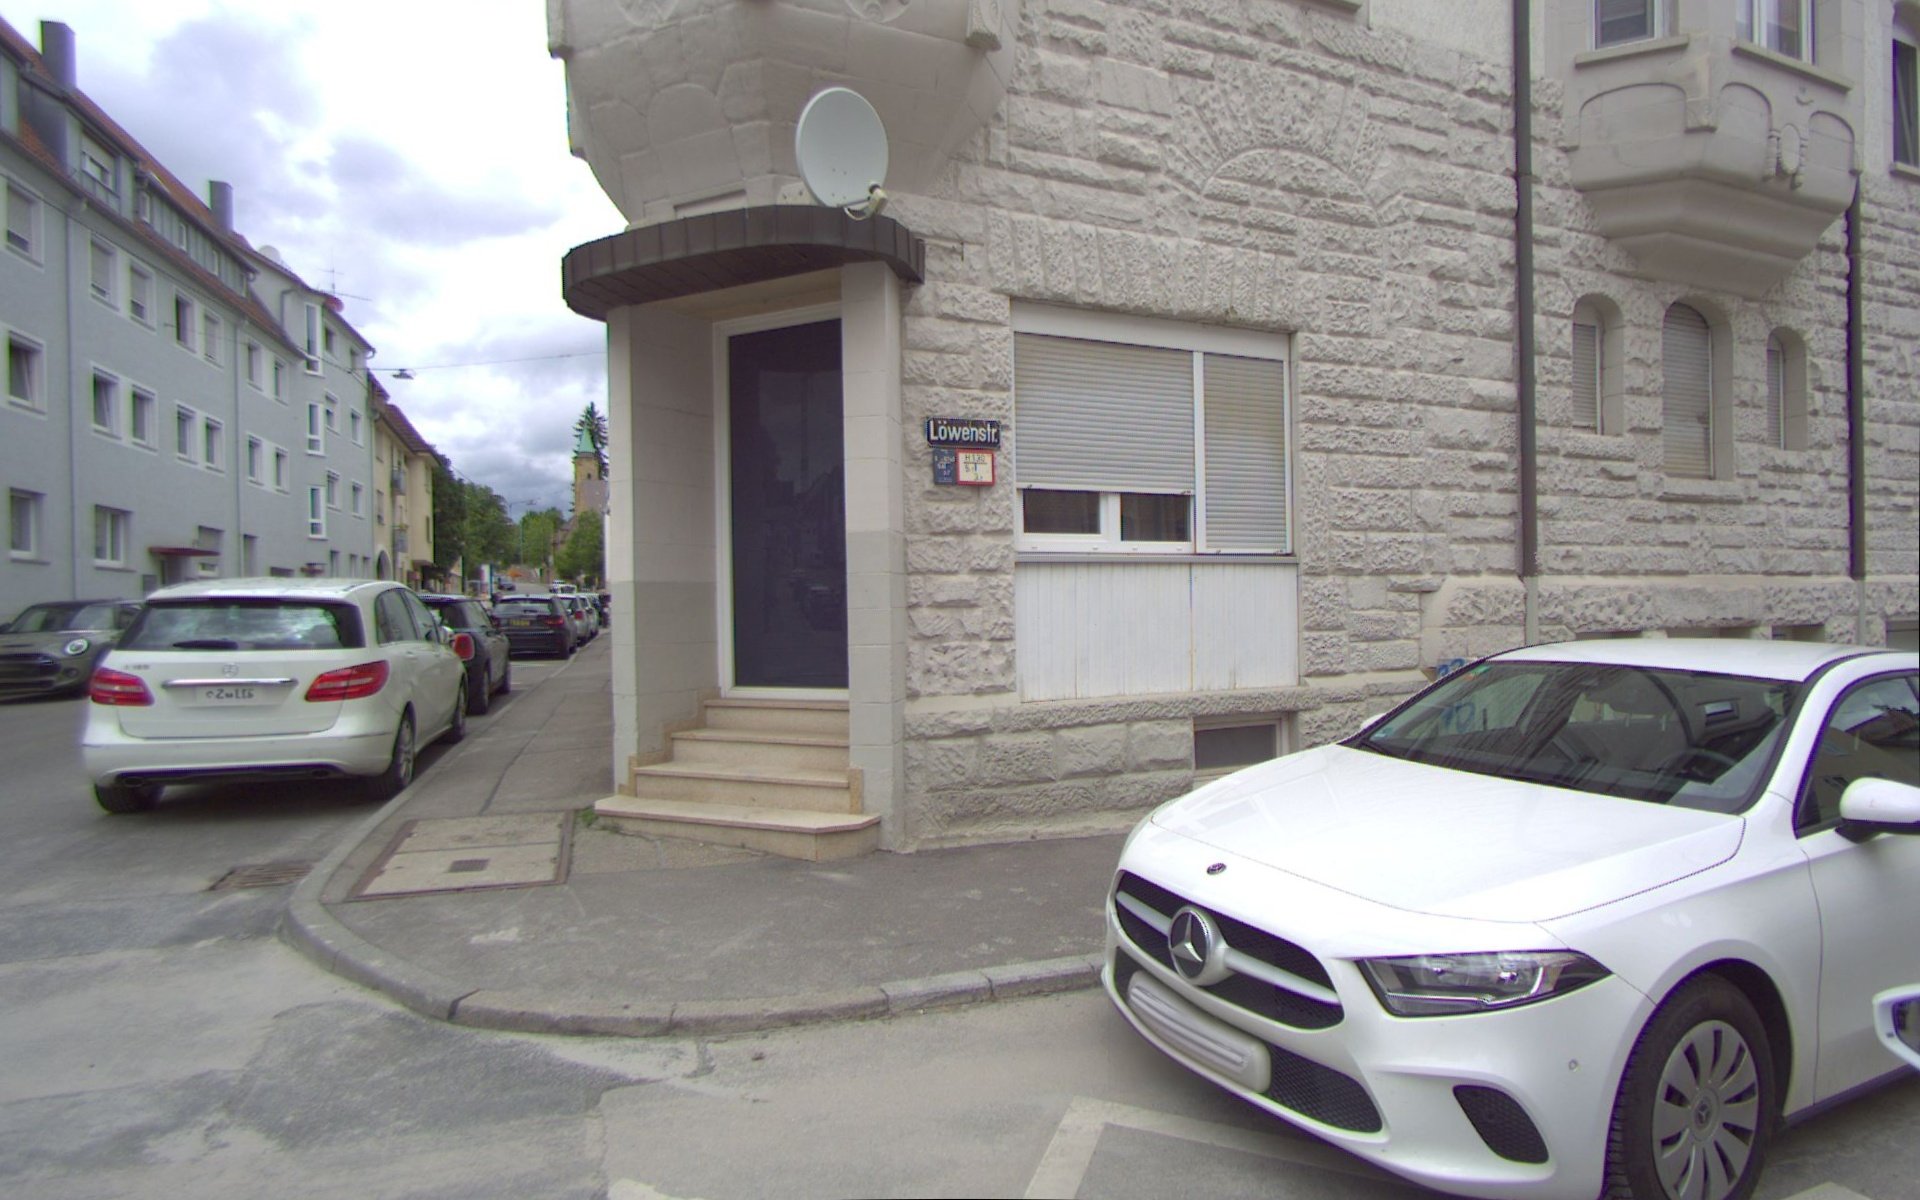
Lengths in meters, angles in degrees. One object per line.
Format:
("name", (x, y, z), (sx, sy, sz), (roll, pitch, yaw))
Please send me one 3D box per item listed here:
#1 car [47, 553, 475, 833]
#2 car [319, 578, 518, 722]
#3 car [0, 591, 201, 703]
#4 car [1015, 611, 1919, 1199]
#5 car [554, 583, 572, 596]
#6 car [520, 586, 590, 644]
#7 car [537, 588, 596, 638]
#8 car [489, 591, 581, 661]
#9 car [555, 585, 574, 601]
("car", (-5.106, 0.534, 8.014), (1.798, 1.621, 4.009), (0, 0, -20))
("car", (-6.790, 0.528, 12.996), (1.648, 1.553, 4.009), (1, 0, -20))
("car", (-13.463, 0.635, 15.450), (1.709, 1.509, 3.703), (-1, 1, -19))
("car", (2.438, 0.801, 3.574), (4.183, 1.433, 1.694), (2, -1, -25))
("car", (-53.424, -1.425, 135.176), (2.159, 1.716, 3.603), (0, 1, -25))
("car", (-11.383, 0.384, 28.384), (1.648, 1.499, 3.609), (1, 0, -20))
("car", (-12.818, 0.402, 32.888), (1.648, 1.499, 3.609), (1, 0, -20))
("car", (-9.547, 0.537, 22.789), (1.648, 1.403, 4.009), (1, 0, -20))
("car", (-39.021, -0.694, 99.116), (1.647, 1.499, 3.609), (0, 1, -20))
